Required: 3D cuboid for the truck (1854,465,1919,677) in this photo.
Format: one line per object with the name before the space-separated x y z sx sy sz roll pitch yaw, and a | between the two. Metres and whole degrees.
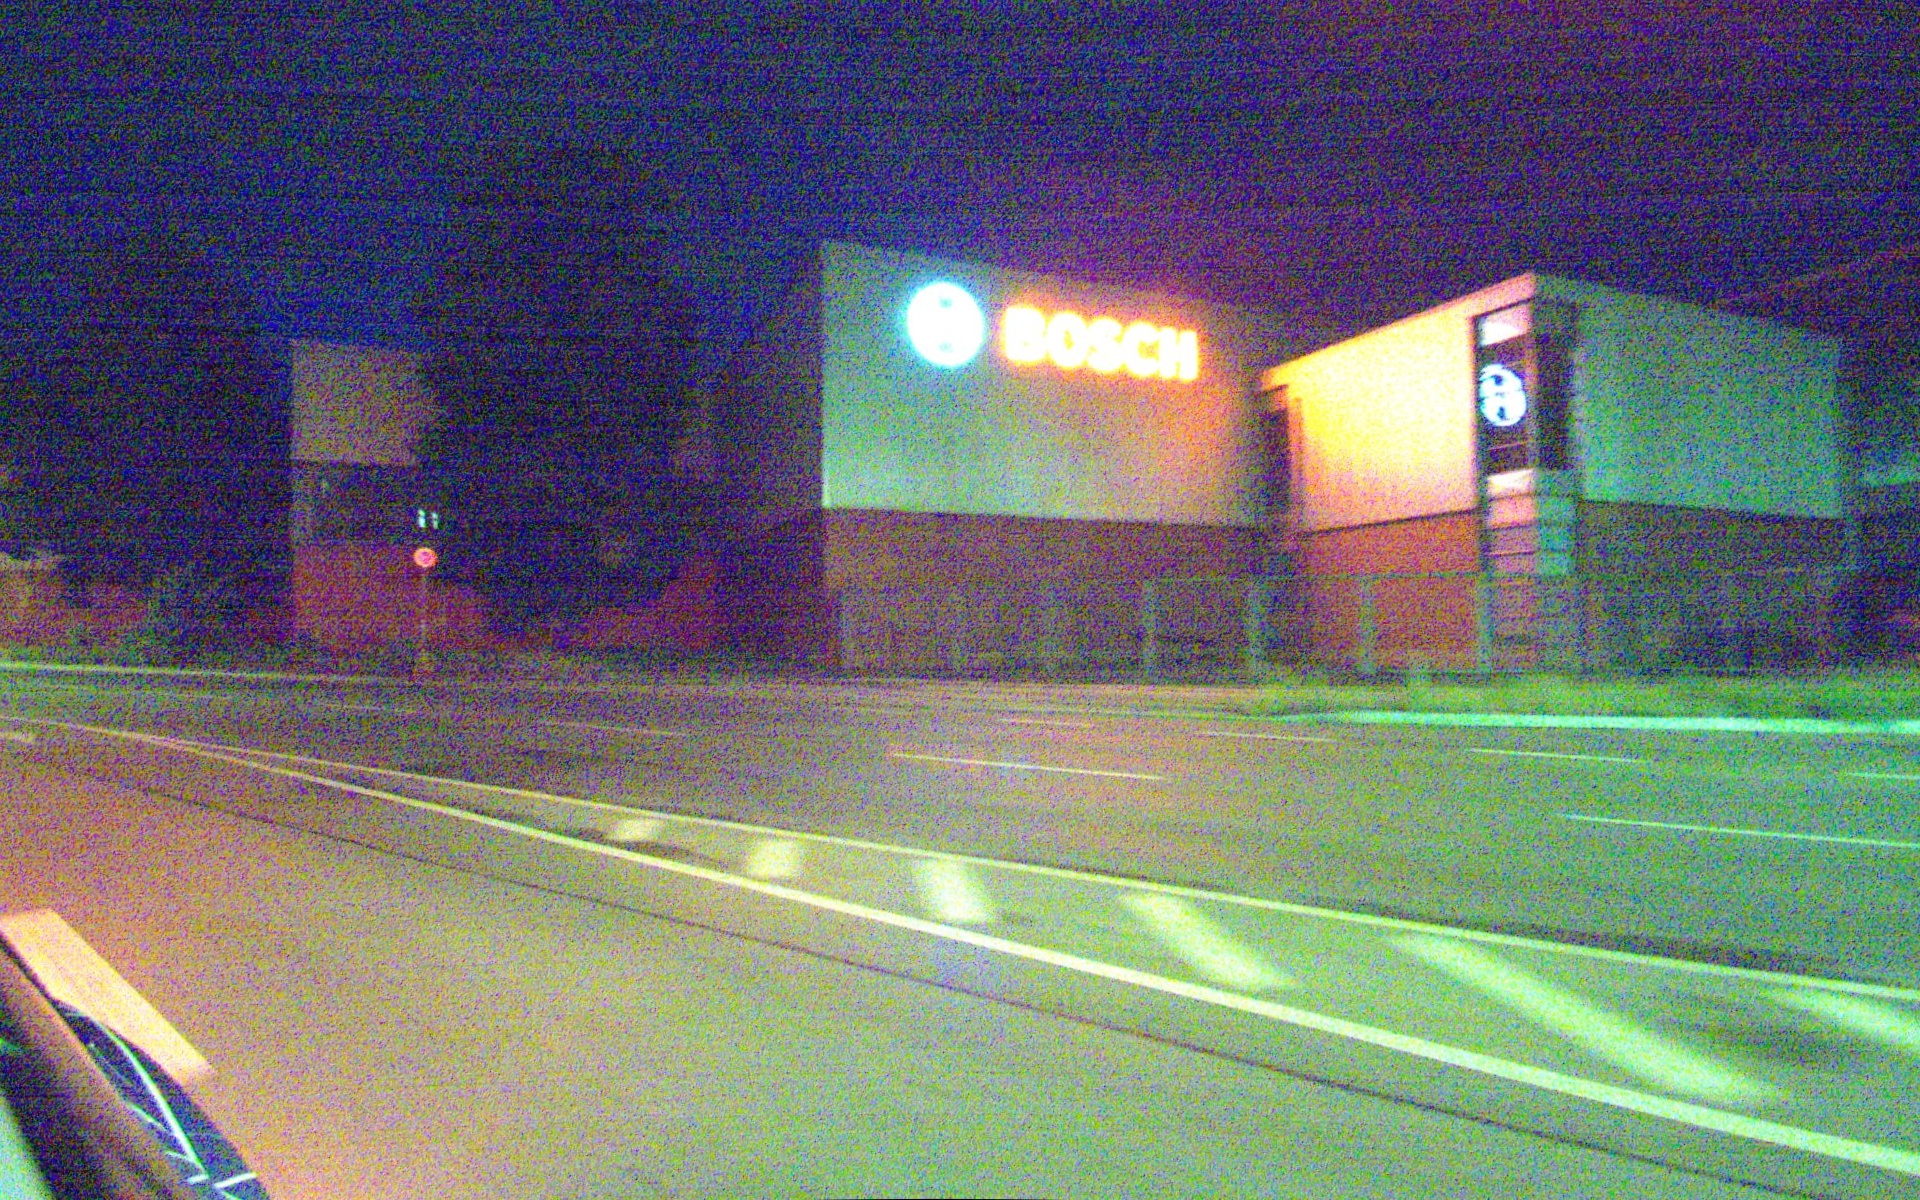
truck | 22.060 -0.530 17.708 9.446 3.825 2.940 0 -1 8
